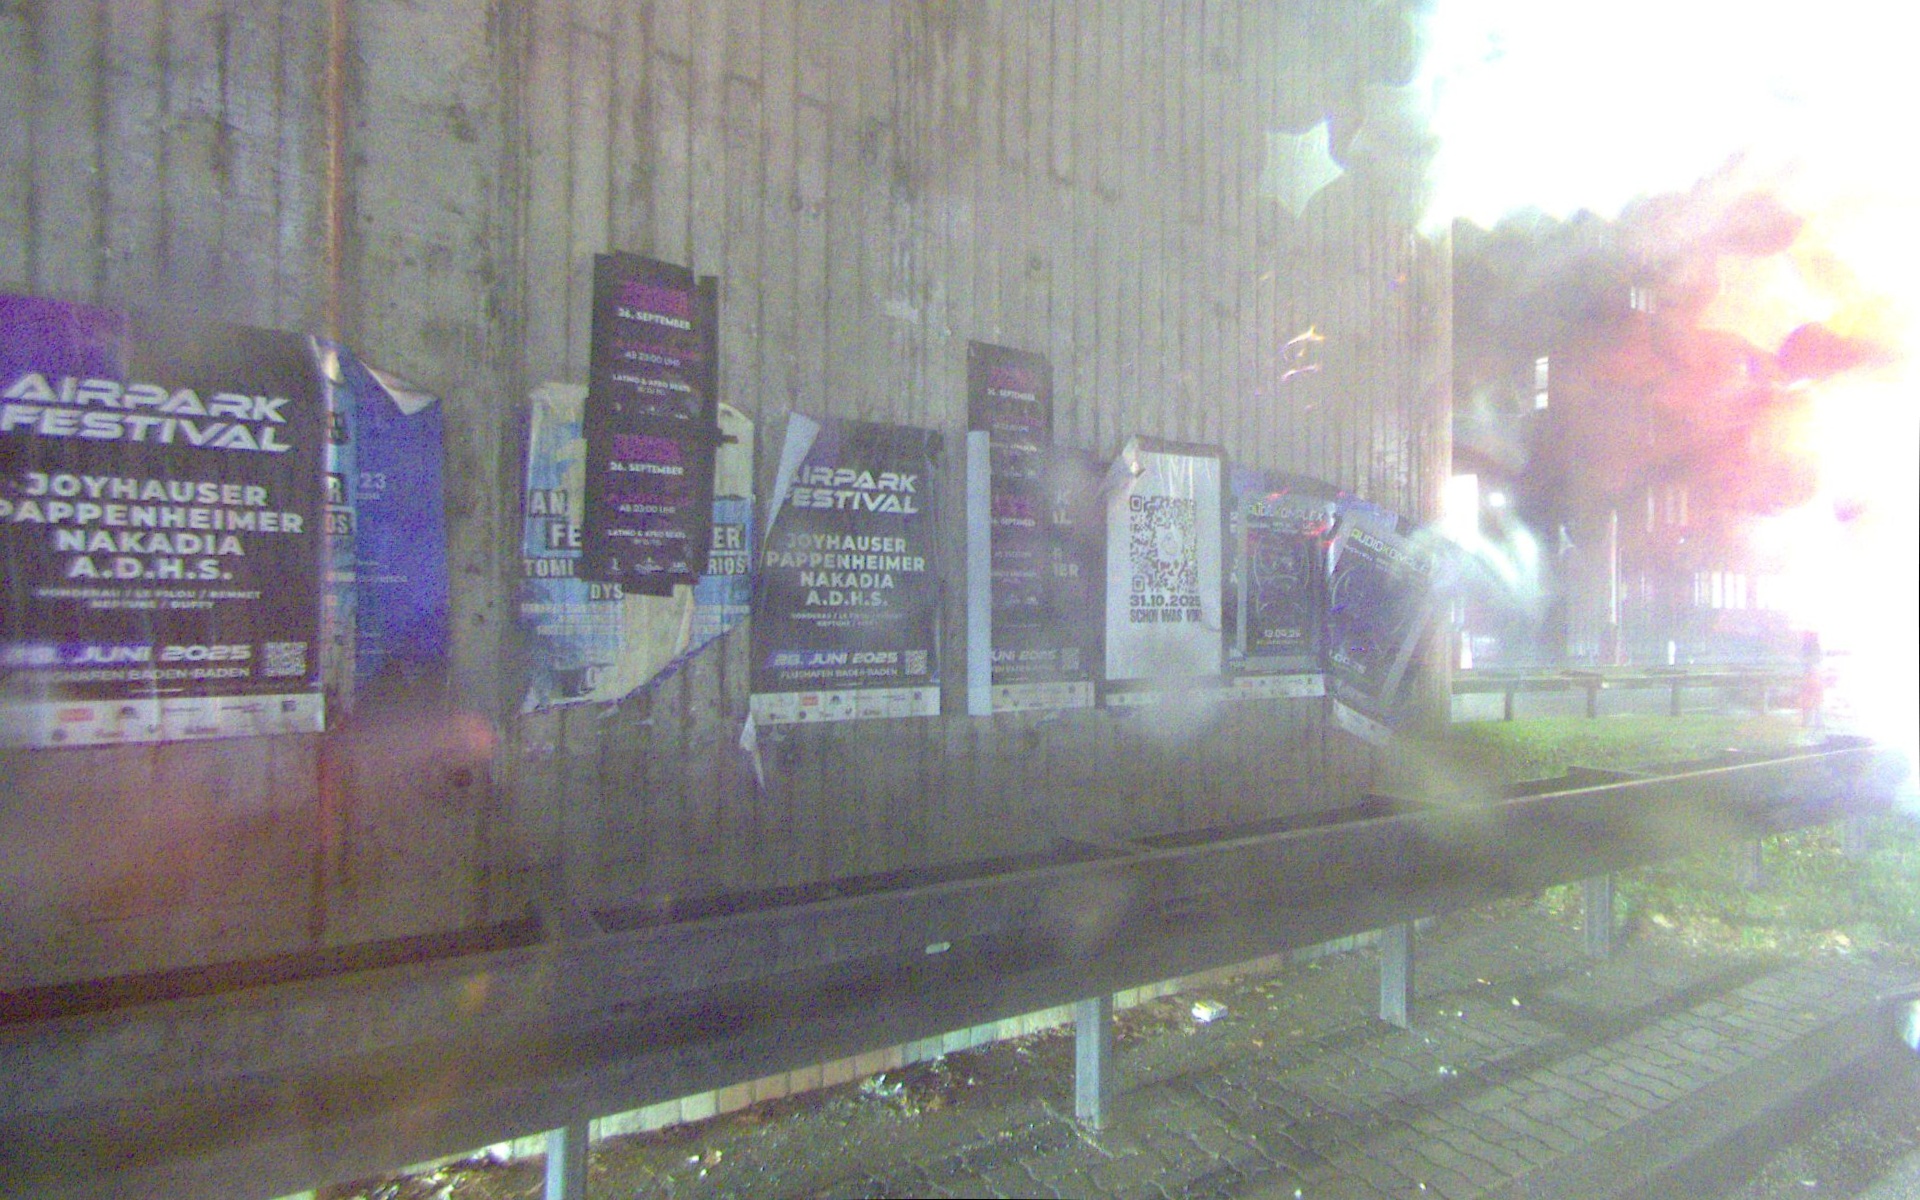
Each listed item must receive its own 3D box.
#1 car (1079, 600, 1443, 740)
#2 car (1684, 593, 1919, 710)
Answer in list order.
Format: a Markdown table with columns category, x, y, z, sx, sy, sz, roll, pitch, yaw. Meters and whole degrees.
| category | x | y | z | sx | sy | sz | roll | pitch | yaw |
| --- | --- | --- | --- | --- | --- | --- | --- | --- | --- |
| car | 4.357 | 0.960 | 14.554 | 4.845 | 1.764 | 1.962 | 2 | 0 | -21 |
| car | 14.962 | 0.842 | 16.692 | 4.308 | 1.764 | 1.911 | 2 | 0 | 12 |
